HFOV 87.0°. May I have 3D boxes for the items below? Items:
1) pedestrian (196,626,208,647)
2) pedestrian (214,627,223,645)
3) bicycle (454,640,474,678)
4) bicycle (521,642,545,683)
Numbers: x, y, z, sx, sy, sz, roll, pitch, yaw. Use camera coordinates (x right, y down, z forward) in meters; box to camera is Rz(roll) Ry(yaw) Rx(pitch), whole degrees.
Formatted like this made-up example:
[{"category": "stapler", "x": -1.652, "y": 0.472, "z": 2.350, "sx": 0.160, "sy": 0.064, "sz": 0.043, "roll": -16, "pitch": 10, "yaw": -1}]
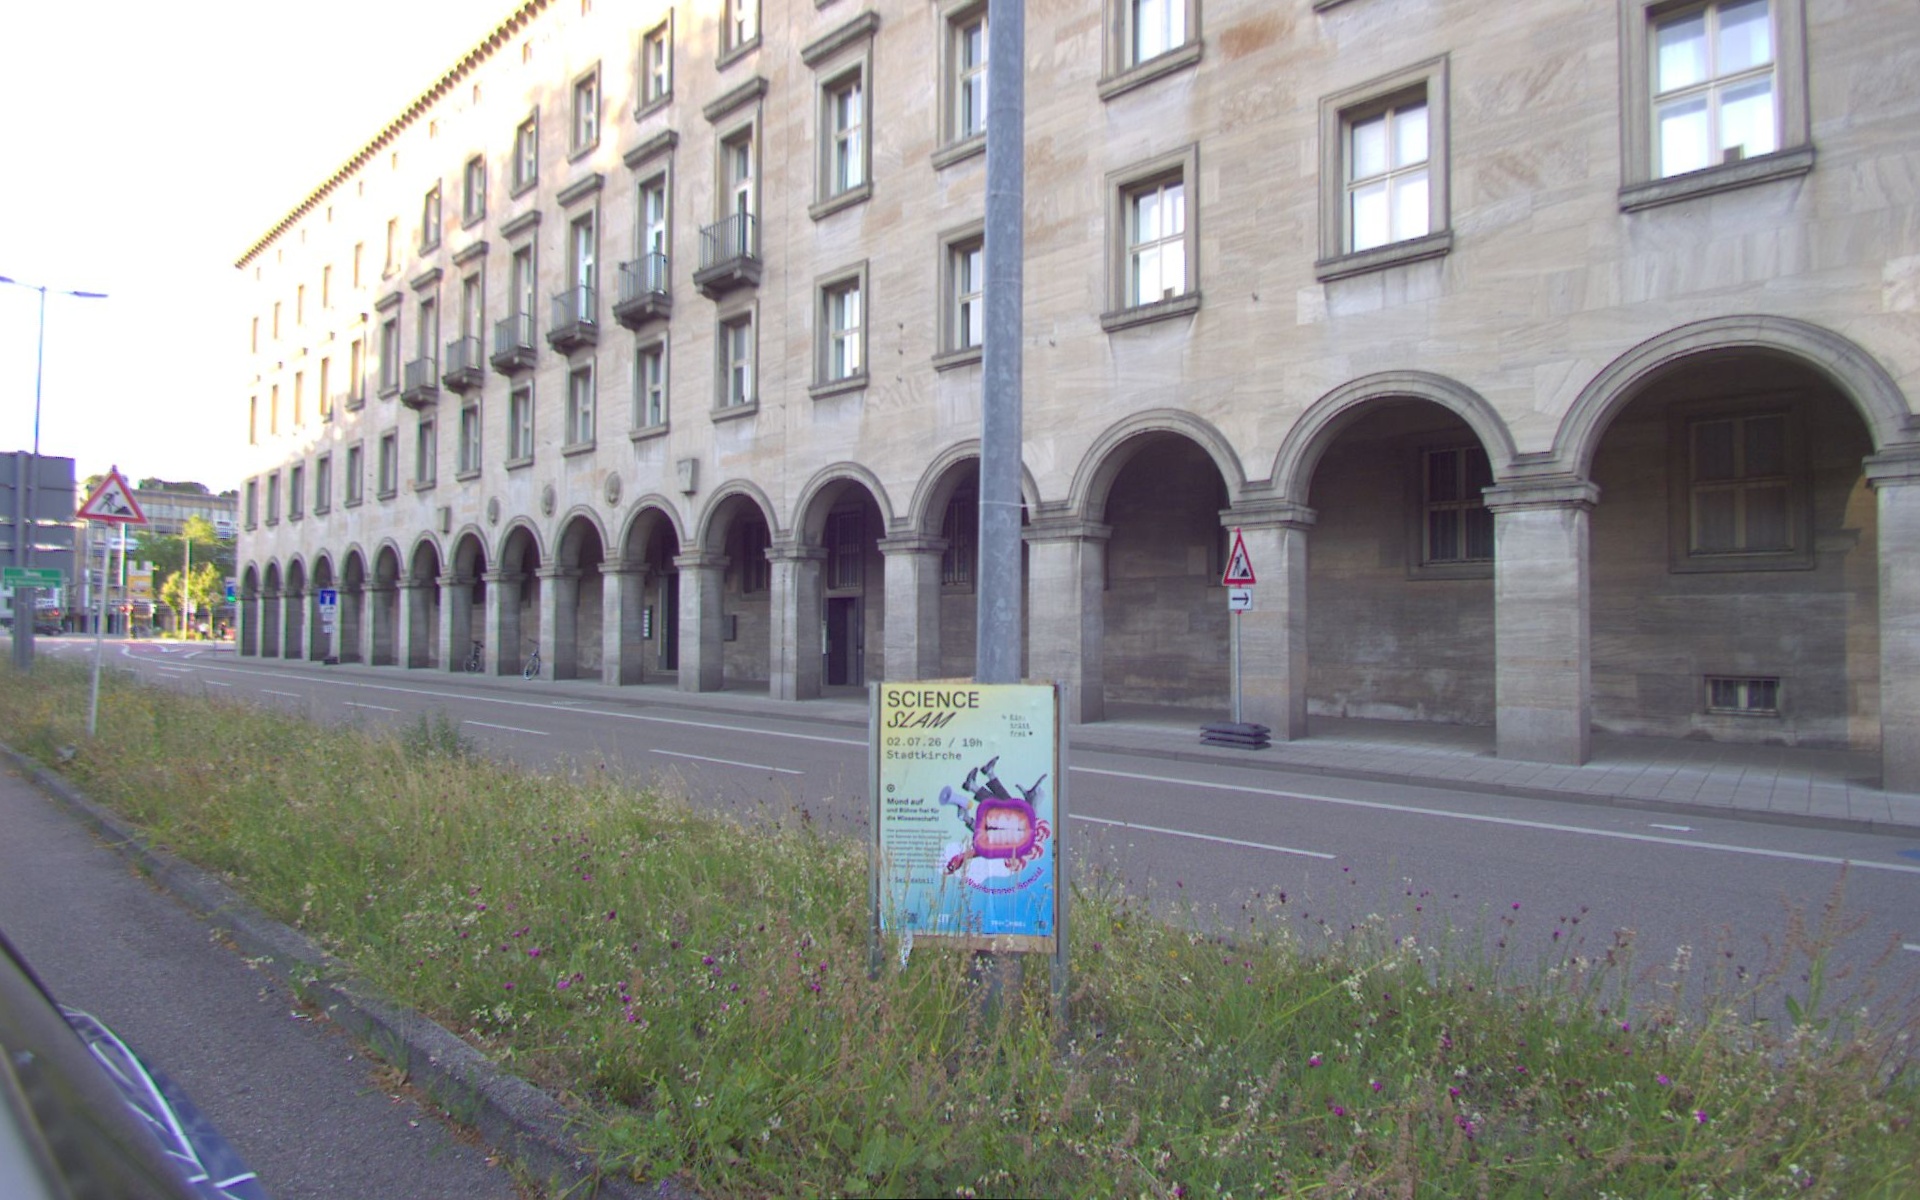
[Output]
[{"category": "pedestrian", "x": -64.540, "y": 3.076, "z": 86.160, "sx": 0.506, "sy": 1.771, "sz": 0.630, "roll": -2, "pitch": -3, "yaw": 41}, {"category": "pedestrian", "x": -63.695, "y": 3.114, "z": 86.913, "sx": 0.389, "sy": 1.553, "sz": 0.519, "roll": -2, "pitch": -3, "yaw": 41}, {"category": "bicycle", "x": -16.274, "y": 1.918, "z": 33.211, "sx": 0.505, "sy": 1.188, "sz": 2.431, "roll": 1, "pitch": -2, "yaw": -25}, {"category": "bicycle", "x": -12.707, "y": 1.841, "z": 30.131, "sx": 0.505, "sy": 1.130, "sz": 2.431, "roll": 1, "pitch": -1, "yaw": -20}]
